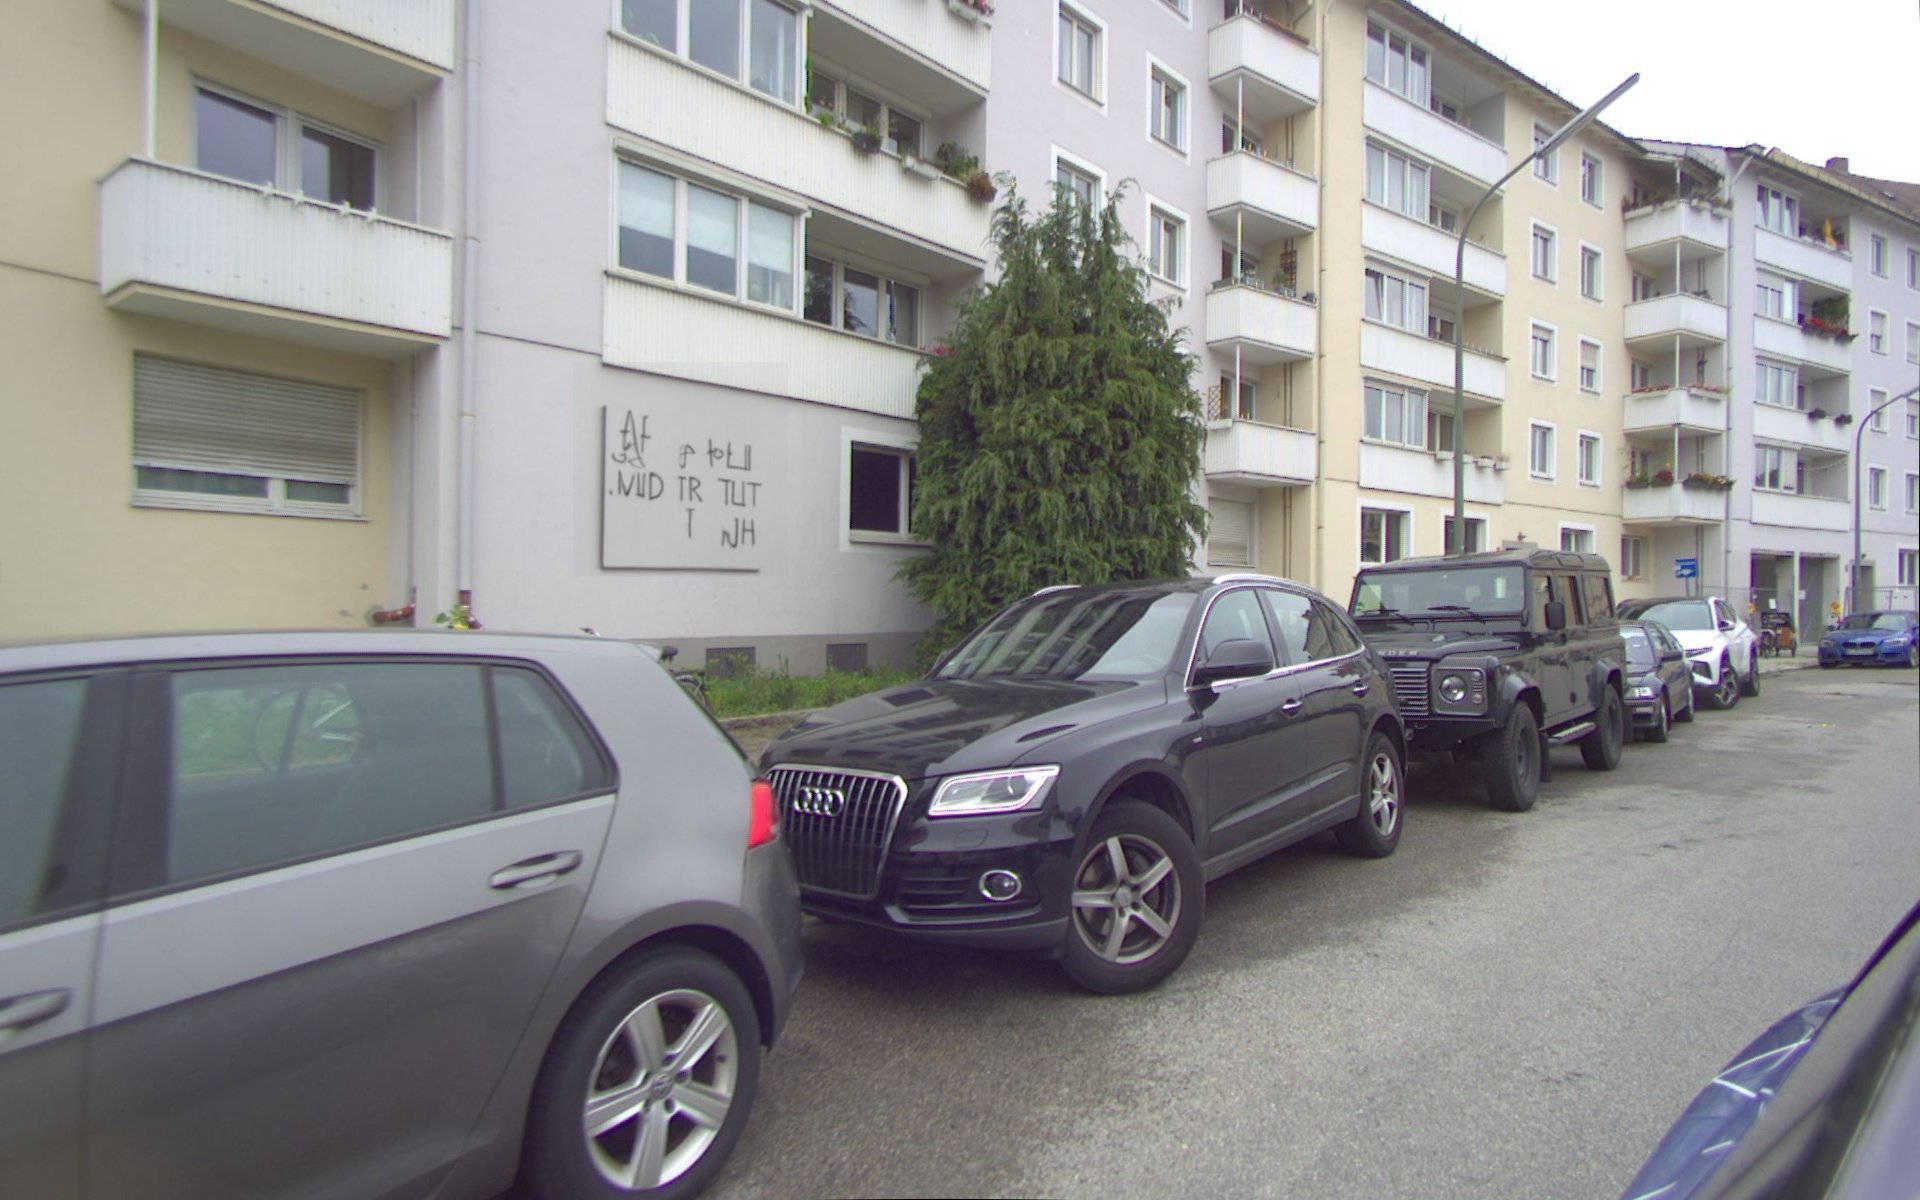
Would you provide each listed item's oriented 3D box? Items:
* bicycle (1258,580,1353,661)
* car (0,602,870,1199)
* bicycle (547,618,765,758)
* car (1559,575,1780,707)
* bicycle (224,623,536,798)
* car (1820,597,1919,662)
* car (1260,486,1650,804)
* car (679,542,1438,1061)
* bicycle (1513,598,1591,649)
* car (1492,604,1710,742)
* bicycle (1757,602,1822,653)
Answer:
[{"bbox_3d":[6.448,0.349,18.799,0.742,1.384,2.434,4,3,41],"label":"bicycle"},{"bbox_3d":[-2.179,0.757,1.841,1.750,1.414,3.989,-2,-1,38],"label":"car"},{"bbox_3d":[-2.722,0.744,9.248,0.467,1.132,1.912,1,0,44],"label":"bicycle"},{"bbox_3d":[10.917,0.594,15.437,2.026,1.700,4.538,-2,-3,44],"label":"car"},{"bbox_3d":[-4.164,0.743,7.378,1.906,1.132,0.469,1,0,-34],"label":"bicycle"},{"bbox_3d":[23.330,0.743,25.208,4.541,1.461,1.835,1,-4,-36],"label":"car"},{"bbox_3d":[4.544,0.354,8.925,1.747,2.109,4.442,-2,-3,45],"label":"car"},{"bbox_3d":[0.921,0.631,5.325,1.657,1.586,4.446,-2,-1,42],"label":"car"},{"bbox_3d":[15.196,0.580,26.001,0.424,1.237,1.706,1,0,-34],"label":"bicycle"},{"bbox_3d":[7.891,0.772,12.315,1.656,1.366,3.748,-2,-1,41],"label":"car"},{"bbox_3d":[23.104,0.733,28.160,2.724,1.339,0.812,0,1,-38],"label":"bicycle"}]
